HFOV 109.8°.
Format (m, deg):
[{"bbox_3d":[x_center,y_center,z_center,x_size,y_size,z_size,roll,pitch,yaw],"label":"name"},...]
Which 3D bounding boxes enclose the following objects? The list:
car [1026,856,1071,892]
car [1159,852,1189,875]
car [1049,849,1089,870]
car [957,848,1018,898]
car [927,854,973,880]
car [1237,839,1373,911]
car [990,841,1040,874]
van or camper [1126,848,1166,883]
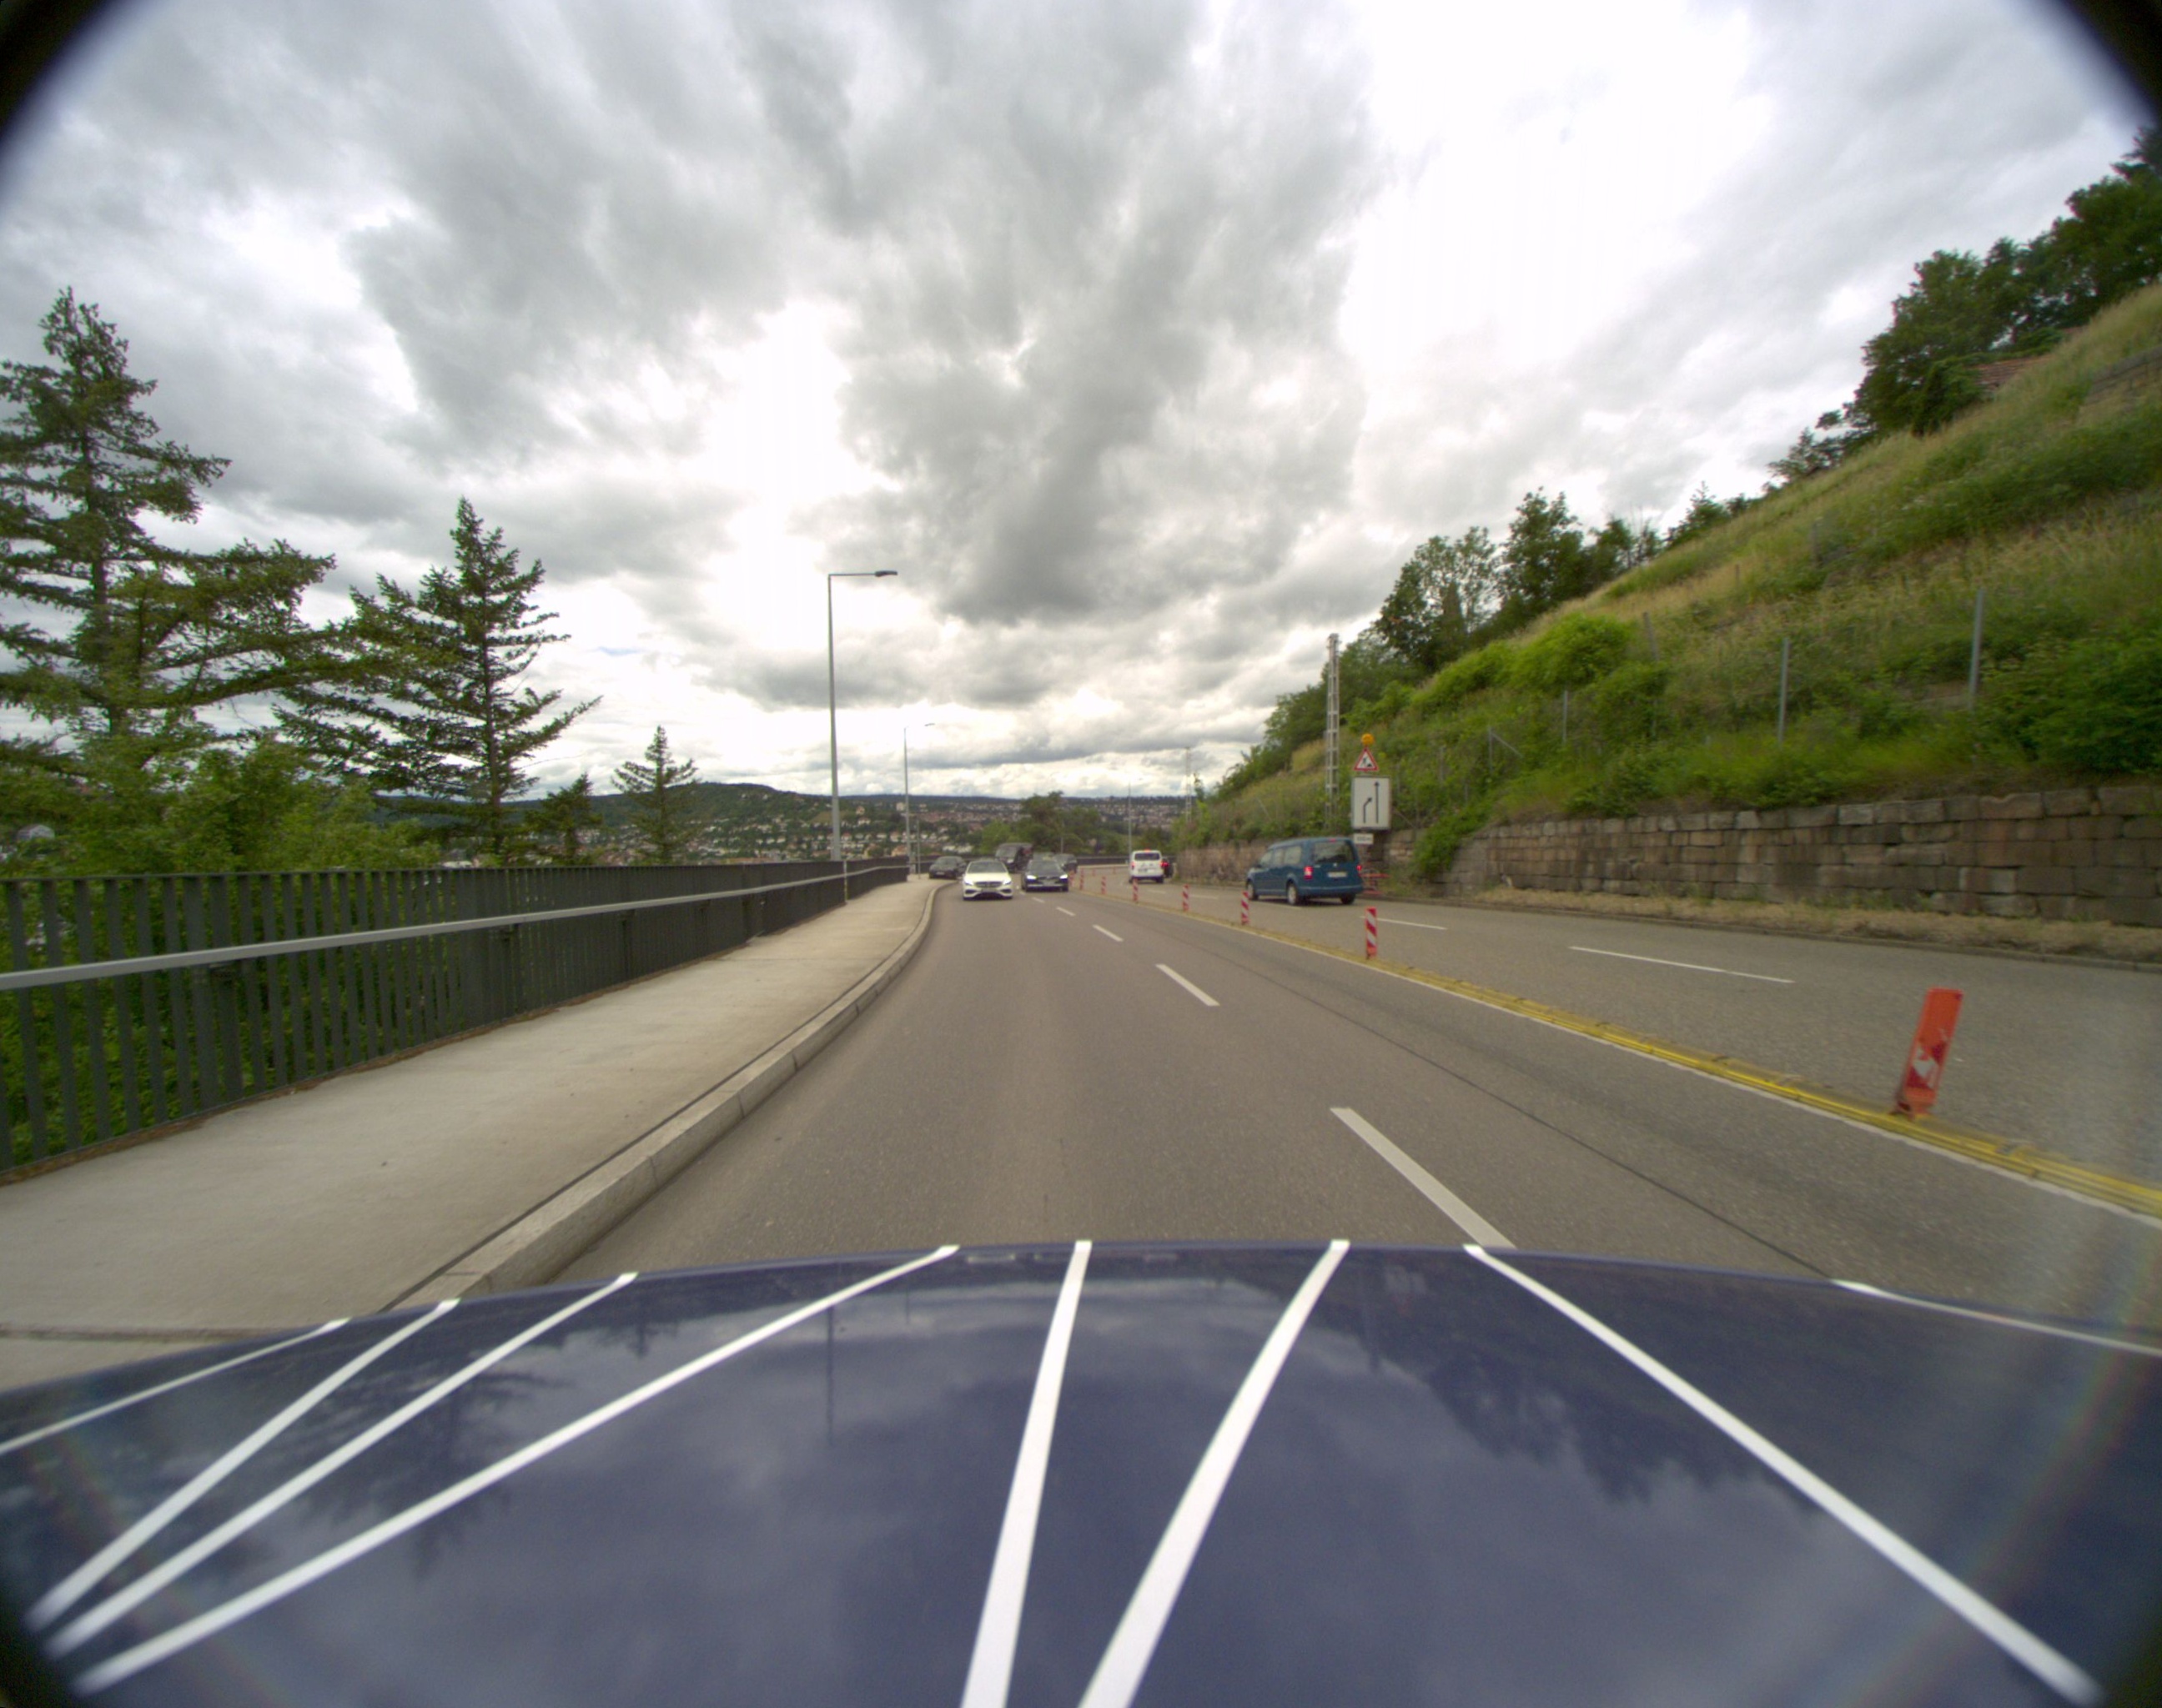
[{"bbox_3d":[-1.526,0.862,34.450,1.901,1.485,4.139,1,0,-4],"label":"car"},{"bbox_3d":[8.712,0.874,71.024,2.151,2.005,4.968,0,1,14],"label":"car"},{"bbox_3d":[-0.974,0.465,64.496,1.996,1.661,4.544,-1,0,19],"label":"car"},{"bbox_3d":[-3.461,0.770,28.834,1.999,1.707,4.001,-2,-3,-3],"label":"car"},{"bbox_3d":[-8.268,0.792,48.353,1.878,1.534,4.091,0,1,6],"label":"car"},{"bbox_3d":[6.289,0.572,22.002,1.857,1.772,4.730,-3,0,-9],"label":"car"},{"bbox_3d":[-5.473,0.233,63.864,2.169,2.507,5.777,4,1,15],"label":"car"},{"bbox_3d":[3.949,0.706,46.821,2.153,2.004,4.964,0,0,1],"label":"van or camper"}]
